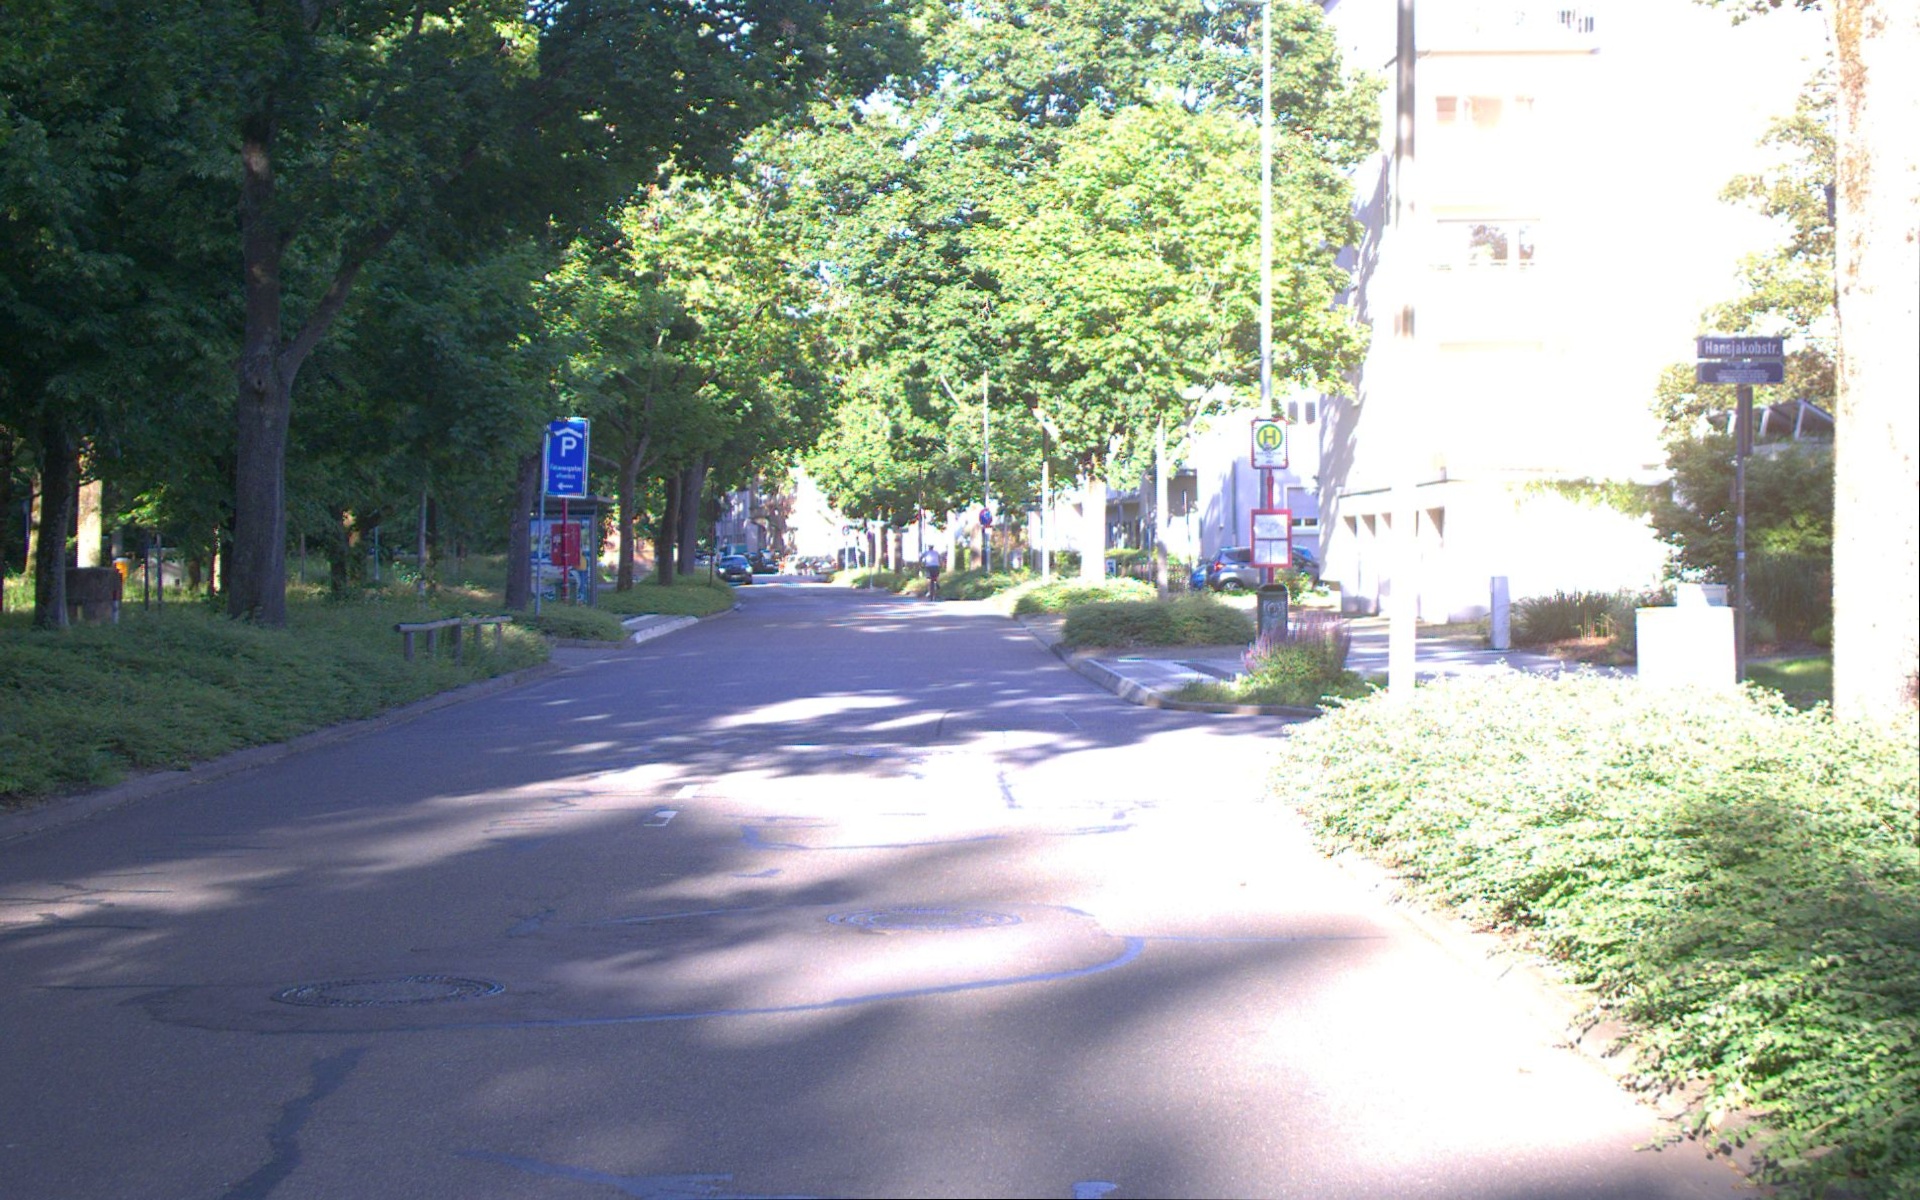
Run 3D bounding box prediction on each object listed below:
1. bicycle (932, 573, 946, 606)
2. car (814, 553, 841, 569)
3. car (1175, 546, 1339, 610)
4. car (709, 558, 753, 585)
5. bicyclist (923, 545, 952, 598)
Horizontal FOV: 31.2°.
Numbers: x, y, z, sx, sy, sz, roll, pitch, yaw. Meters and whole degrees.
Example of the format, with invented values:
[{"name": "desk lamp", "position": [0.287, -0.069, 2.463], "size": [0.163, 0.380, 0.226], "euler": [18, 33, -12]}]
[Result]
[{"name": "bicycle", "position": [-0.670, -0.344, 108.372], "size": [0.439, 0.975, 1.661], "euler": [0, 2, -1]}, {"name": "car", "position": [-8.999, -2.642, 233.366], "size": [1.838, 0.988, 3.820], "euler": [1, 1, -2]}, {"name": "car", "position": [8.162, -0.612, 94.264], "size": [4.351, 1.349, 2.143], "euler": [4, 4, 6]}, {"name": "car", "position": [-12.380, -1.545, 185.902], "size": [1.993, 1.349, 3.541], "euler": [1, 1, -10]}, {"name": "bicyclist", "position": [-0.703, -0.902, 108.387], "size": [0.867, 1.635, 1.115], "euler": [1, 2, -1]}]
